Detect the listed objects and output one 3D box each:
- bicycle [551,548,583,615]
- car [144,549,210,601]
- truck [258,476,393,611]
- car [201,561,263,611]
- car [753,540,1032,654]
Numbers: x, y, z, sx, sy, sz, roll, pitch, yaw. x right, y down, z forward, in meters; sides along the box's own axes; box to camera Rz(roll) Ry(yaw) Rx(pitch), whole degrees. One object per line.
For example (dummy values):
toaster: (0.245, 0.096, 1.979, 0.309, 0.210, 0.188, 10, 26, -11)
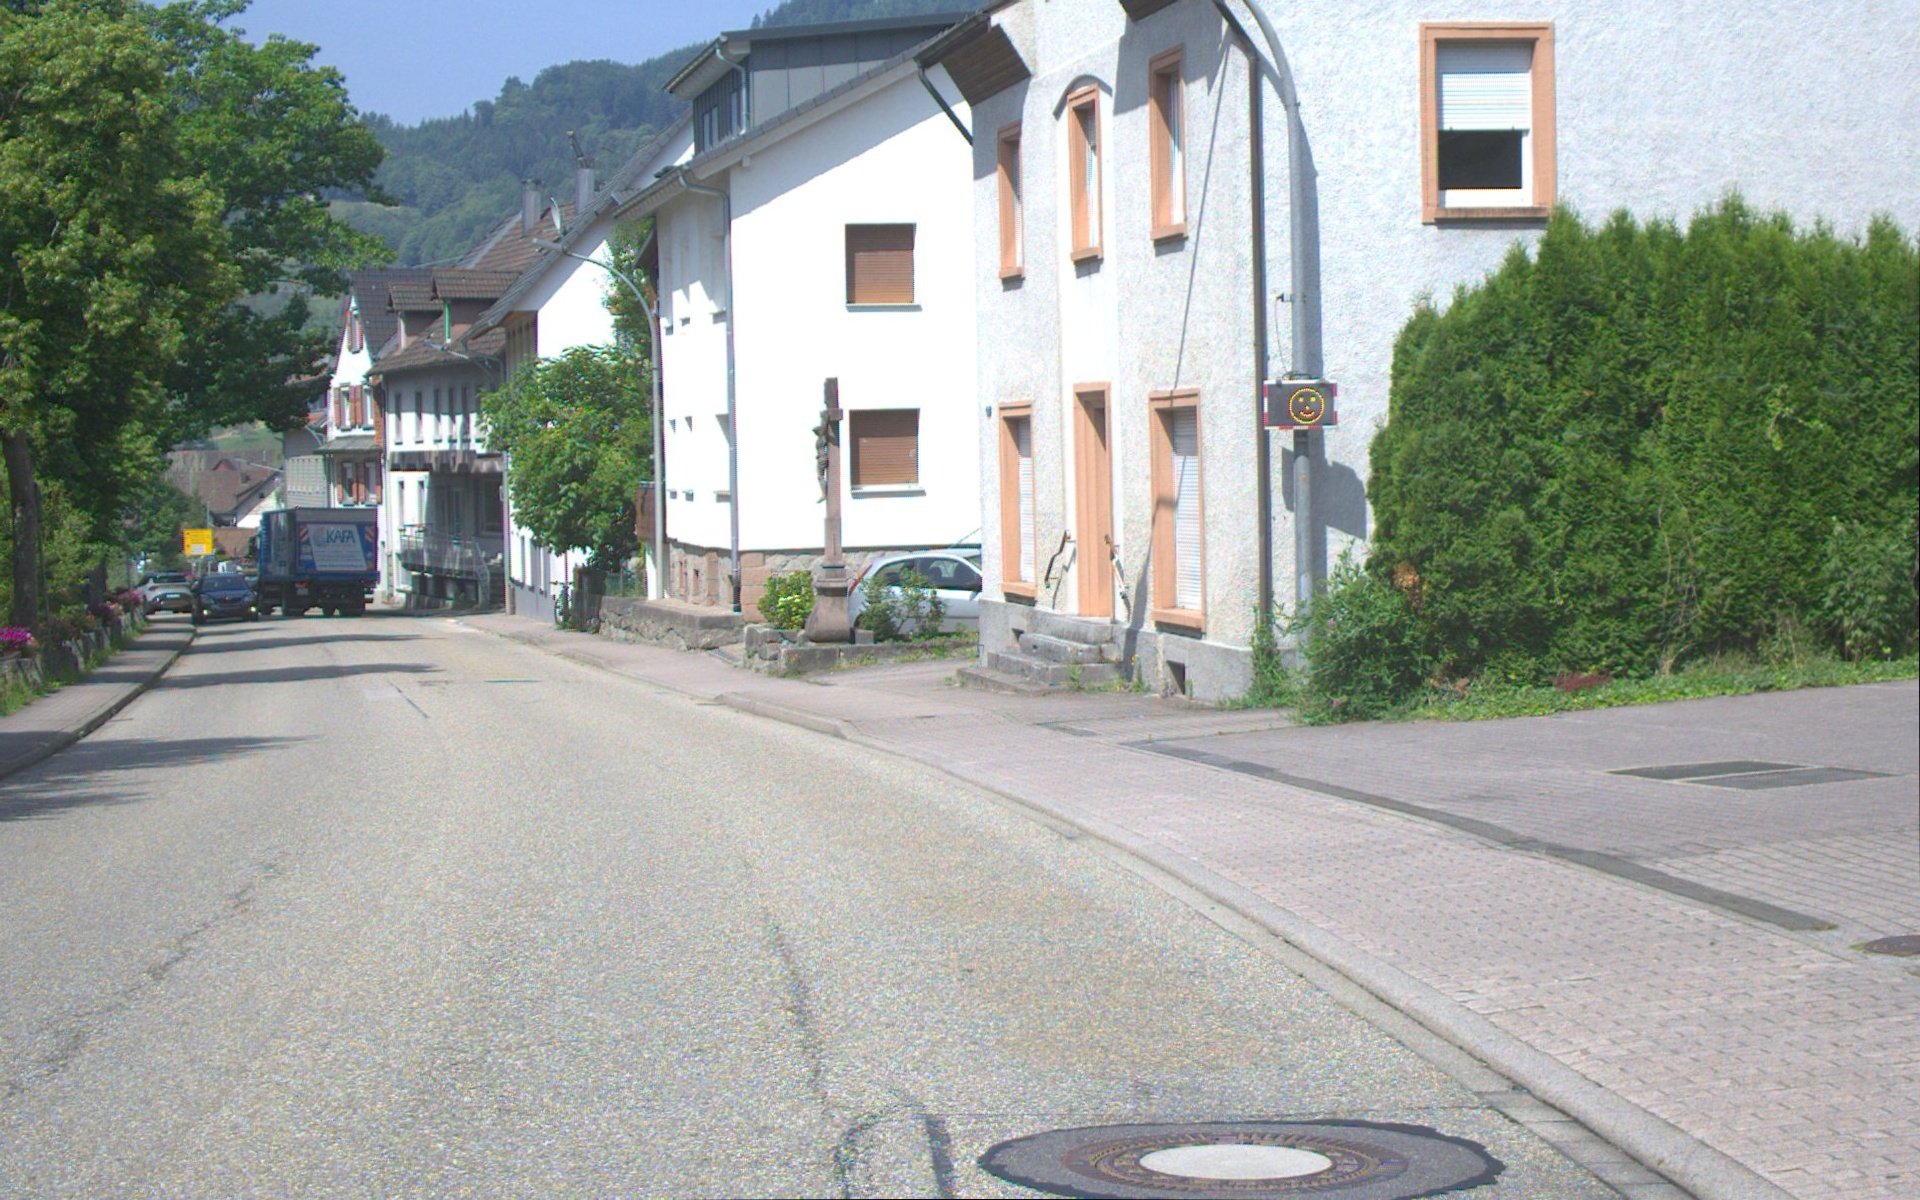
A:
bicycle: (-8.557, -0.418, 74.792, 0.425, 1.391, 2.277, -5, 2, -11)
car: (-30.632, -0.968, 134.446, 1.774, 1.728, 4.000, -5, 0, -22)
truck: (-20.439, -1.731, 110.362, 3.362, 3.769, 8.442, -5, 0, -14)
car: (-21.959, -0.427, 103.765, 1.666, 1.413, 4.088, -3, 1, -11)
car: (-1.000, -0.039, 50.310, 3.771, 1.422, 1.607, -3, 1, 34)
